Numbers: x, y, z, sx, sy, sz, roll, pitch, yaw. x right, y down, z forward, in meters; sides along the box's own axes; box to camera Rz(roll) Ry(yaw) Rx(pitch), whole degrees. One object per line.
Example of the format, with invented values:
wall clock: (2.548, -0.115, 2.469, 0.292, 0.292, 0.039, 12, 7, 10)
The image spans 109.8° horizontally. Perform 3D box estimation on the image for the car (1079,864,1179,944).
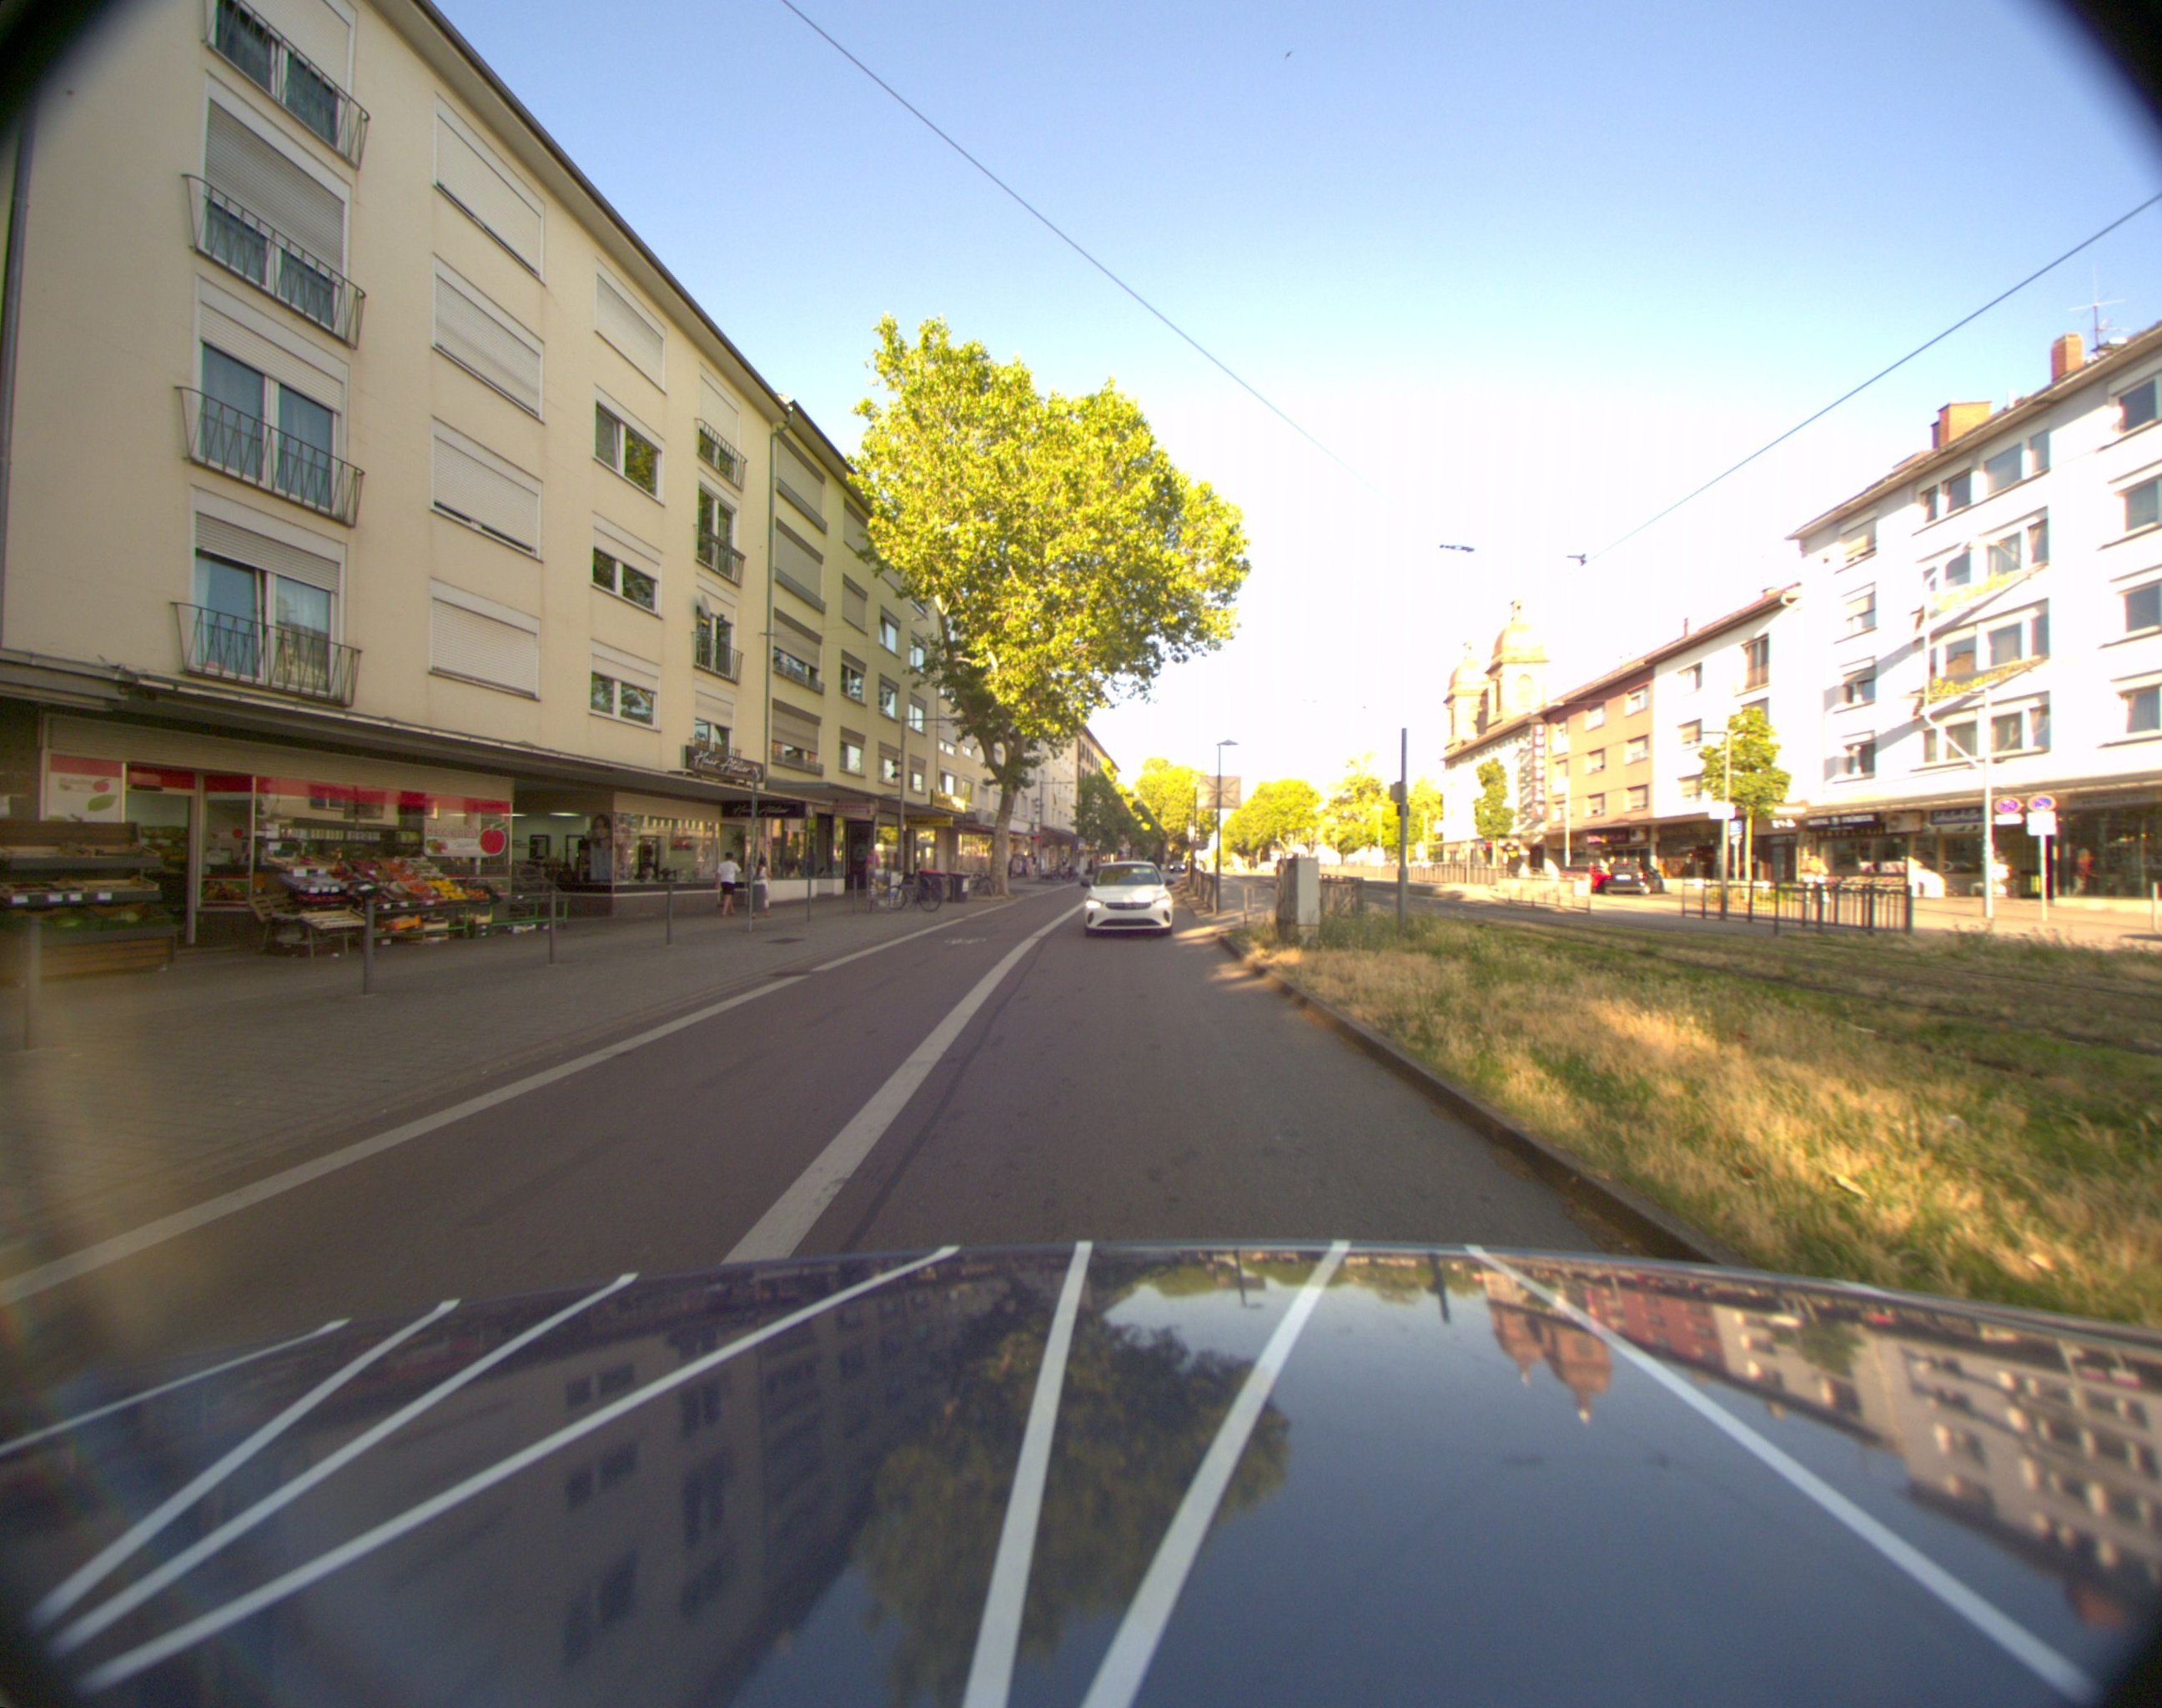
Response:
car: (0.966, 0.942, 15.916, 1.826, 1.433, 3.829, -1, 0, 3)

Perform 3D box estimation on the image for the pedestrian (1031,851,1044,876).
pedestrian: (-2.953, 0.668, 51.546, 0.569, 1.665, 1.070, 2, 0, 9)

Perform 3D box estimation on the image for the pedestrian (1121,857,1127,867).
pedestrian: (6.726, 1.279, 119.720, 0.851, 1.644, 0.916, -2, 0, 8)

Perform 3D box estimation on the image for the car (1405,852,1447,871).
car: (29.967, 0.637, 65.946, 4.007, 1.477, 1.739, -2, 0, -39)

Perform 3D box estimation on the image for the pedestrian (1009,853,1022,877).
pedestrian: (-4.103, 0.673, 47.455, 0.541, 1.493, 0.896, 2, 0, 9)

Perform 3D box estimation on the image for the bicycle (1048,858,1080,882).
bicycle: (-1.062, 0.993, 47.516, 1.788, 1.304, 0.695, 6, 1, 20)

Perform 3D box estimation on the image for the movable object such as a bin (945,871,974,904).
movable object such as a bin: (-4.238, 1.157, 26.476, 0.723, 1.096, 0.645, 4, 2, 15)

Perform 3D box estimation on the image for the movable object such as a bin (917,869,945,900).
movable object such as a bin: (-5.386, 1.096, 27.260, 0.722, 1.066, 0.645, 2, 1, 27)

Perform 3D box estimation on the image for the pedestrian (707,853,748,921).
pedestrian: (-8.554, 0.787, 18.415, 0.623, 1.577, 0.627, 2, 1, 7)

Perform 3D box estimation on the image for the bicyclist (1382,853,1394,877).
bicyclist: (25.572, 0.922, 63.292, 0.765, 2.002, 0.912, 1, 0, 7)

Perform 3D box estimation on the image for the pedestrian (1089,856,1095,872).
pedestrian: (1.090, 1.022, 75.055, 0.490, 1.558, 0.649, 2, 0, 10)

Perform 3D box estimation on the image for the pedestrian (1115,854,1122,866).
pedestrian: (5.648, 0.894, 113.524, 0.851, 1.644, 0.916, -2, 0, 8)

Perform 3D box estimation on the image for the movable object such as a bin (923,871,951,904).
movable object such as a bin: (-5.019, 1.173, 26.552, 0.723, 1.066, 0.644, 4, 1, 6)

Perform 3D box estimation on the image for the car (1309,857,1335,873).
car: (27.324, 1.257, 86.418, 1.997, 1.706, 4.438, 0, 0, 7)

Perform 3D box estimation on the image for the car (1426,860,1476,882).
car: (28.642, 1.285, 58.800, 4.007, 1.521, 1.865, -2, 0, -37)

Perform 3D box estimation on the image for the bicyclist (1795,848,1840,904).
bicyclist: (25.175, 0.730, 25.995, 0.693, 1.876, 1.059, 1, 1, 17)

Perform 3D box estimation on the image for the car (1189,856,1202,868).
car: (20.234, 1.418, 134.261, 1.997, 2.002, 4.004, -2, 0, 12)

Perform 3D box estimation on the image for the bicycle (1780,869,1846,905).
bicycle: (25.246, 1.107, 26.266, 0.706, 1.152, 2.201, 1, 0, 17)

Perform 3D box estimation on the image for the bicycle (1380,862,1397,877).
bicycle: (25.560, 1.305, 63.249, 0.719, 1.223, 2.280, 1, 0, 7)

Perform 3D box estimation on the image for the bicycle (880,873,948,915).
bicycle: (-4.949, 1.176, 22.539, 1.909, 1.098, 0.519, 3, 1, 14)

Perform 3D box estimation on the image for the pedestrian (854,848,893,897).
pedestrian: (-7.673, 0.676, 28.114, 0.969, 1.753, 1.134, 1, 1, 9)

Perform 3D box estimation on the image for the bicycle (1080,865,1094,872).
bicycle: (0.574, 1.292, 69.041, 0.840, 0.569, 1.759, 1, -1, -14)

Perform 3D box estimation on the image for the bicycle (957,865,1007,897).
bicycle: (-3.750, 1.013, 28.740, 1.721, 1.111, 0.745, 0, 4, 8)

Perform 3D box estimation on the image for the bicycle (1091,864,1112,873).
bicycle: (1.827, 1.295, 68.832, 1.762, 0.773, 0.702, 1, 0, -14)

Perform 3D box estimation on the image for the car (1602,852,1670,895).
car: (25.870, 0.882, 35.376, 3.777, 1.789, 1.859, -2, 0, -43)

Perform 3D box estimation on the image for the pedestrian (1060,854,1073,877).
pedestrian: (-1.159, 0.921, 60.161, 0.774, 1.789, 0.931, 4, 0, 10)

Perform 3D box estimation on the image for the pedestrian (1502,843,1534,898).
pedestrian: (14.780, 0.551, 25.724, 0.743, 1.838, 0.590, 0, 0, 3)

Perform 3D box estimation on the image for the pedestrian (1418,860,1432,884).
pedestrian: (26.765, 1.400, 59.112, 0.767, 1.777, 0.725, -2, 0, 8)

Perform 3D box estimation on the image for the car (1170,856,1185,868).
car: (12.448, 0.991, 97.991, 1.717, 1.390, 4.001, -2, 0, 4)

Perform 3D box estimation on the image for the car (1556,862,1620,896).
car: (25.578, 1.249, 38.280, 3.777, 1.482, 1.859, -2, 0, -43)

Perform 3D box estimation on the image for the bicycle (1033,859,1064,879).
bicycle: (-2.079, 0.958, 48.743, 1.795, 1.118, 0.663, 5, 1, -19)

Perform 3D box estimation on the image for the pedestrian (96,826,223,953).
pedestrian: (-13.191, 0.494, 10.904, 0.685, 1.733, 0.880, -2, 0, 5)

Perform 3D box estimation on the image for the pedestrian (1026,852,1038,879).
pedestrian: (-3.012, 0.683, 46.740, 0.547, 1.619, 0.896, 2, 0, 9)

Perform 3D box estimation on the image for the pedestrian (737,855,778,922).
pedestrian: (-7.822, 0.819, 18.400, 0.636, 1.577, 0.627, 2, 1, 7)
